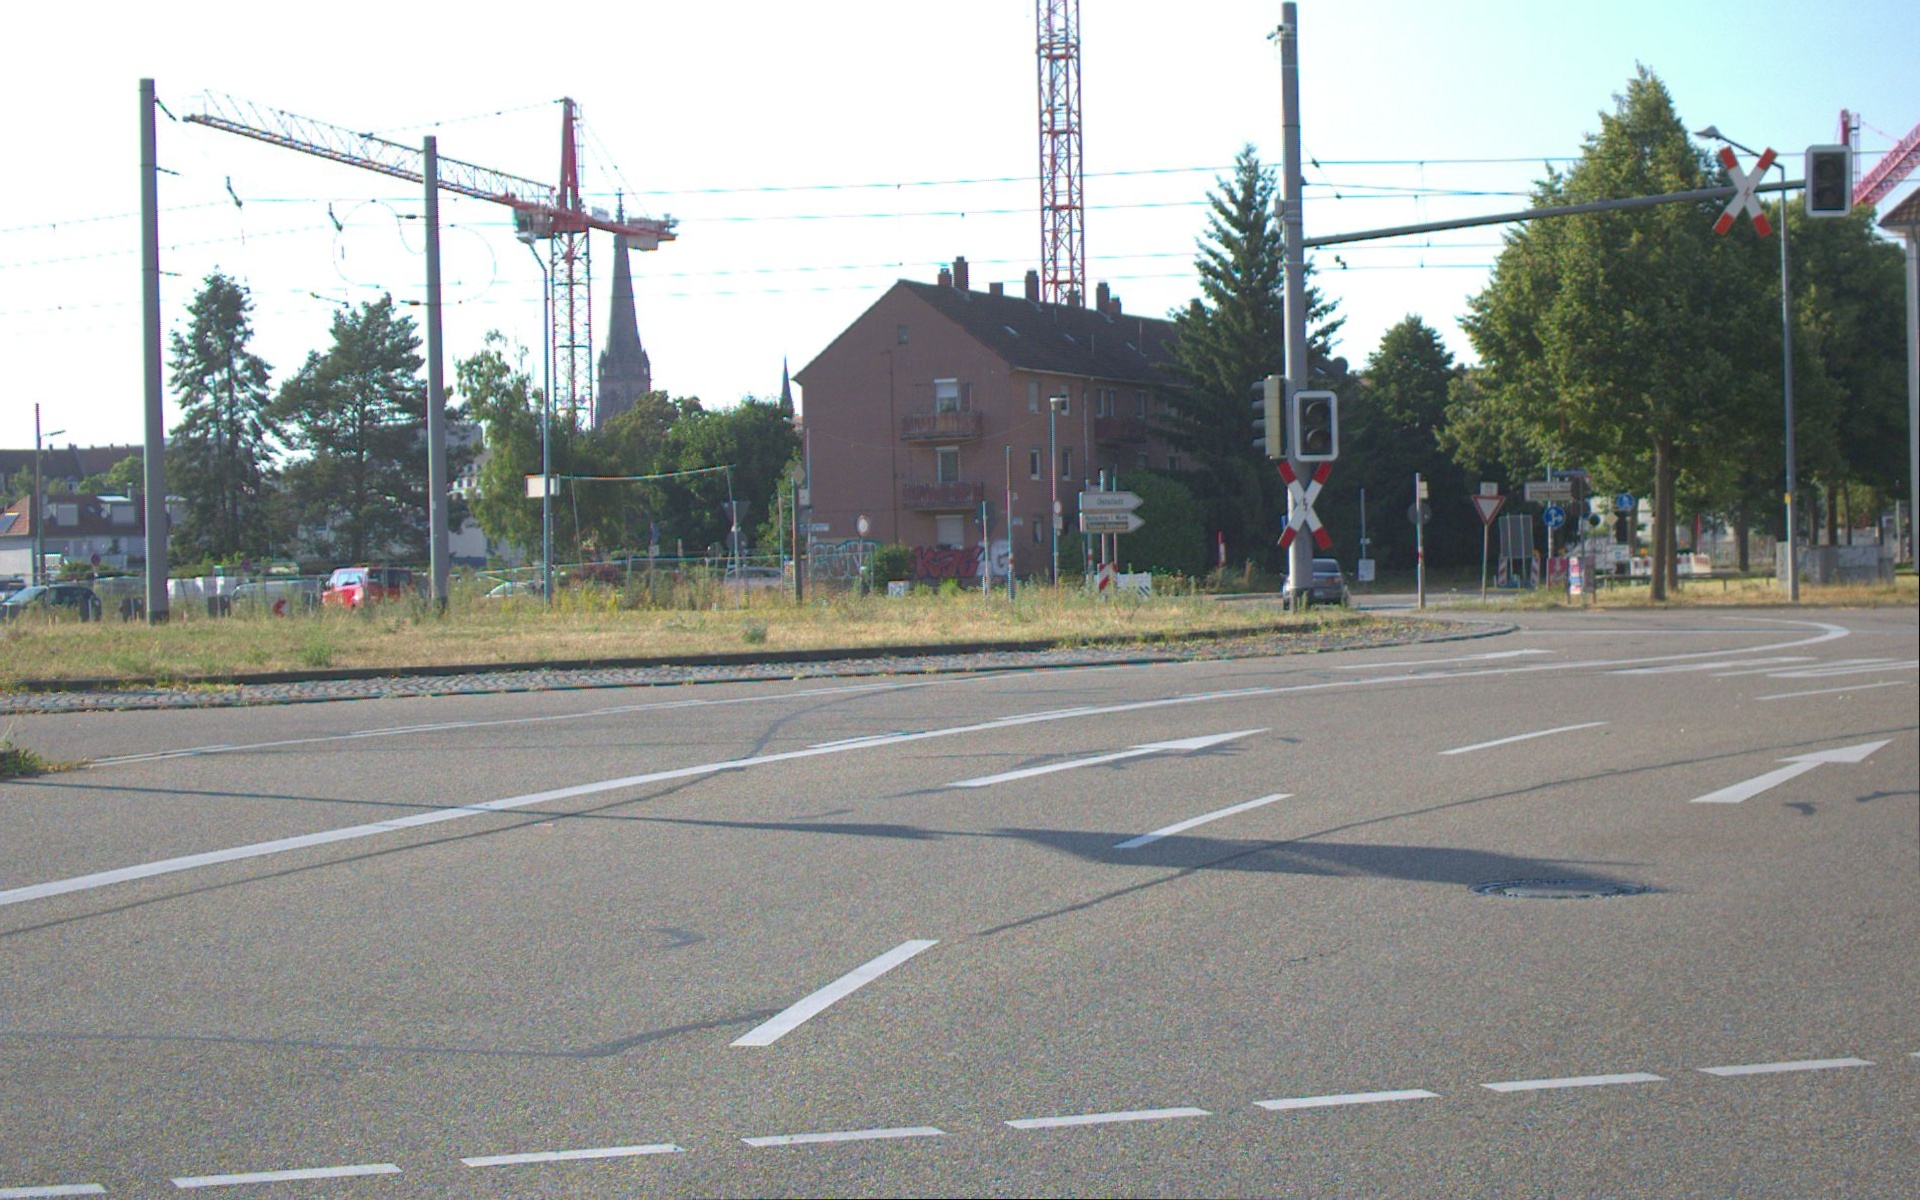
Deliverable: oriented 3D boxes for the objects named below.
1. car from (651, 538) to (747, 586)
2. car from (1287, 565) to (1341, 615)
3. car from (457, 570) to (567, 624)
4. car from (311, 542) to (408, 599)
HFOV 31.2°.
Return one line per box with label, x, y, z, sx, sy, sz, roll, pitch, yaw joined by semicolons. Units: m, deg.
car;-11.353;-1.645;149.679;3.812;2.007;1.670;-1;0;19
car;9.870;-0.285;95.718;1.455;1.295;3.548;-1;1;6
car;-17.256;-0.124;132.511;3.812;2.007;1.670;-1;0;19
car;-20.296;-0.998;116.075;1.919;1.847;4.000;-2;1;-30
